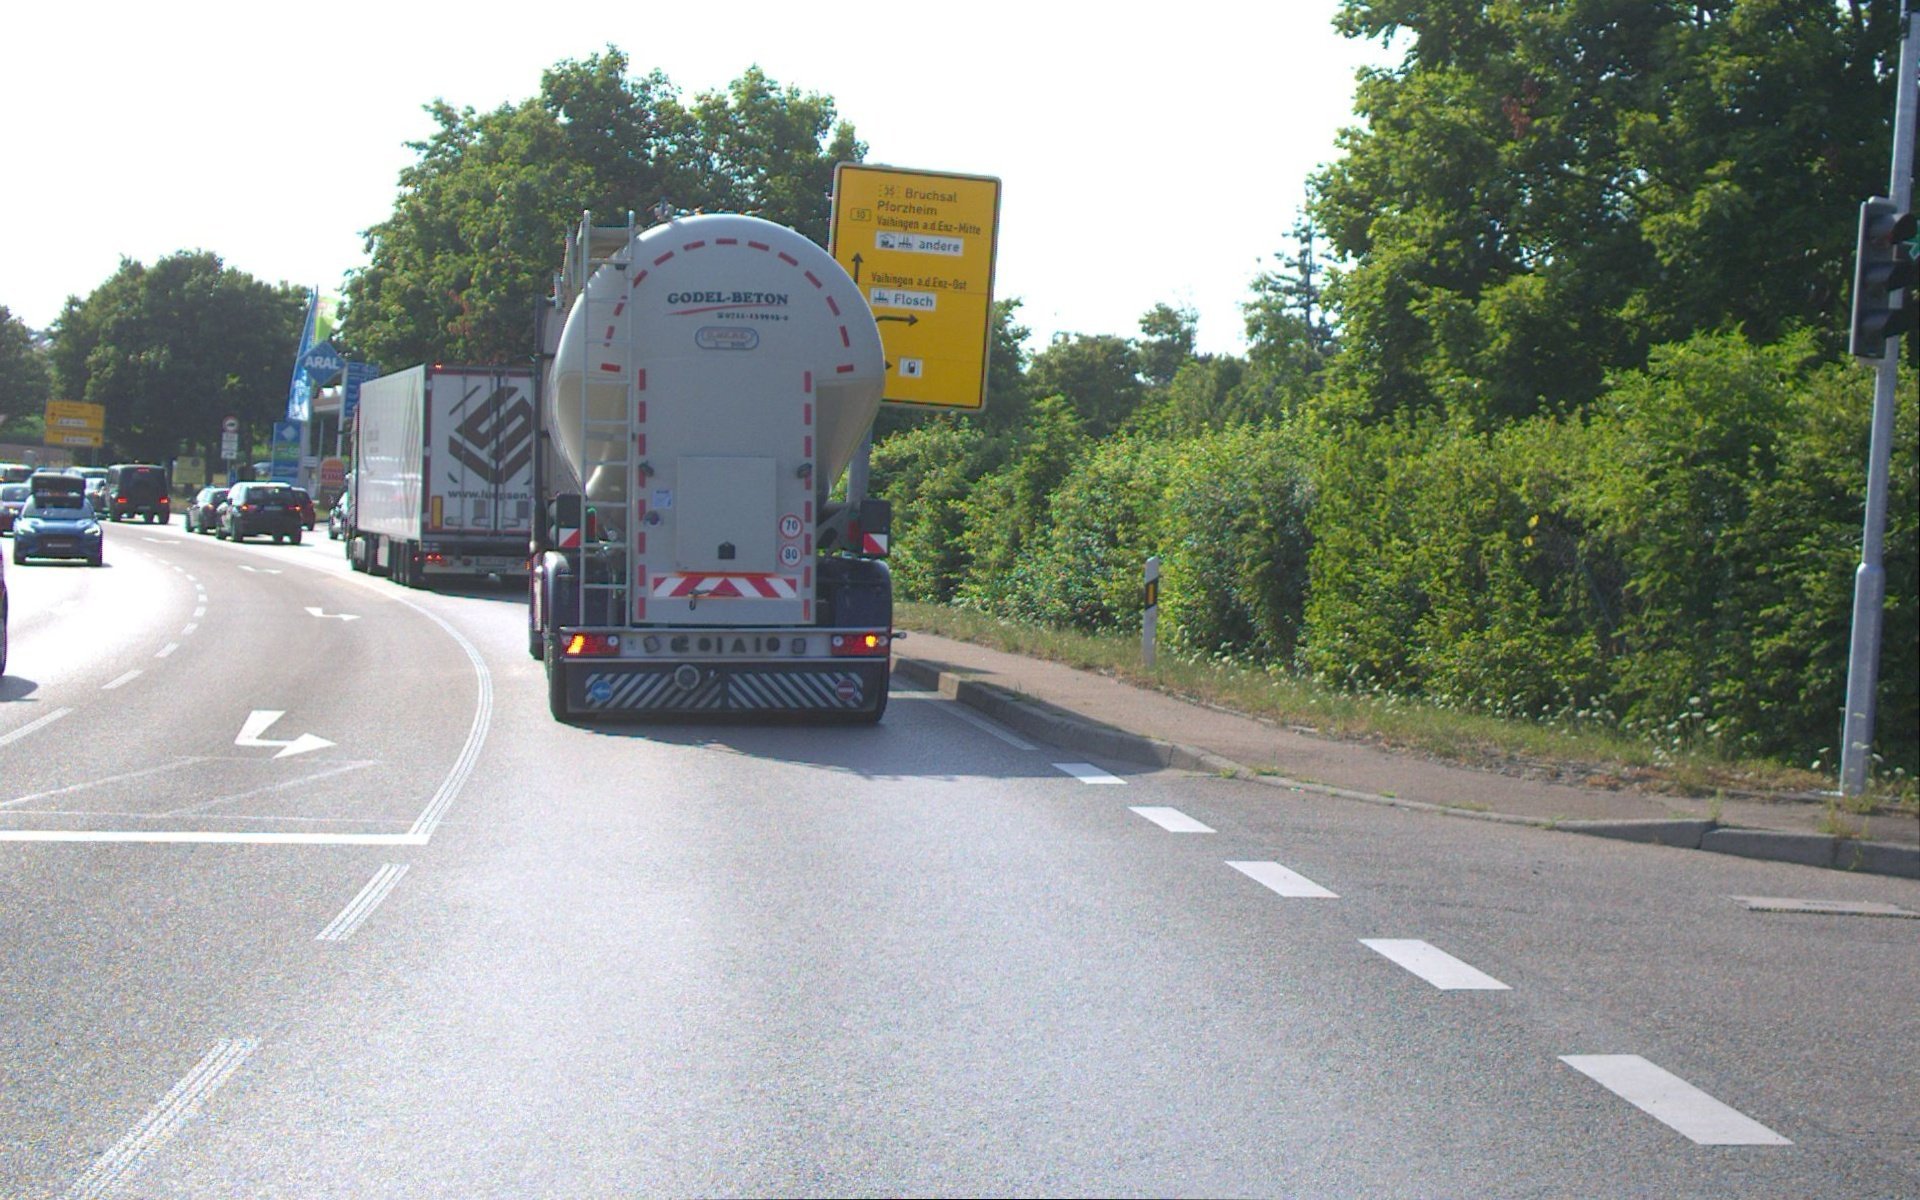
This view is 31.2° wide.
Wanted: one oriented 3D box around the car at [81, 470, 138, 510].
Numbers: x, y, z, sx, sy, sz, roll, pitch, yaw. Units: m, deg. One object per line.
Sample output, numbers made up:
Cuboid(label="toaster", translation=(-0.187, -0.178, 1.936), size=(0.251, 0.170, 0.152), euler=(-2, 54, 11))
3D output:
Cuboid(label="car", translation=(-31.351, -4.049, 126.705), size=(1.414, 1.427, 3.148), euler=(0, 1, -26))

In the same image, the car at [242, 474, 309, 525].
Cuboid(label="car", translation=(-19.621, -2.893, 98.425), size=(1.580, 1.336, 3.427), euler=(2, 2, -16))

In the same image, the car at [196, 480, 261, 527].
Cuboid(label="car", translation=(-22.621, -3.001, 106.294), size=(1.580, 1.336, 3.427), euler=(2, 2, -18))

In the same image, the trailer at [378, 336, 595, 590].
Cuboid(label="trailer", translation=(-9.422, -2.643, 66.881), size=(2.954, 4.300, 14.180), euler=(2, 2, -12))

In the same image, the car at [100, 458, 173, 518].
Cuboid(label="car", translation=(-28.679, -3.908, 119.669), size=(1.861, 2.006, 3.720), euler=(1, 2, -23))

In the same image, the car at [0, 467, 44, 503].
Cuboid(label="car", translation=(-38.215, -4.659, 138.748), size=(1.580, 1.336, 3.426), euler=(2, 2, -30))

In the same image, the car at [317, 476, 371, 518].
Cuboid(label="car", translation=(-21.114, -3.532, 117.817), size=(1.674, 1.336, 3.427), euler=(2, 2, -12))

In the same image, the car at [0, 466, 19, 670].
Cuboid(label="car", translation=(-9.107, -0.248, 28.720), size=(1.880, 1.769, 4.323), euler=(0, 2, -8))

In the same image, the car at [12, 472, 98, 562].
Cuboid(label="car", translation=(-19.402, -1.802, 73.646), size=(1.724, 1.876, 4.337), euler=(0, 2, -15))

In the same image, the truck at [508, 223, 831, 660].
Cuboid(label="truck", translation=(-2.882, -1.527, 34.032), size=(2.909, 3.992, 4.061), euler=(1, 2, -5))

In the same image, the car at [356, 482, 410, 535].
Cuboid(label="car", translation=(-17.315, -2.758, 103.084), size=(1.420, 1.503, 3.427), euler=(2, 2, -12))

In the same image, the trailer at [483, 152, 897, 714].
Cuboid(label="trailer", translation=(-2.446, -1.353, 29.822), size=(2.909, 3.992, 9.933), euler=(1, 2, -6))

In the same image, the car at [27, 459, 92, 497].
Cuboid(label="car", translation=(-34.882, -4.720, 133.132), size=(1.580, 1.336, 3.426), euler=(2, 2, -30))
